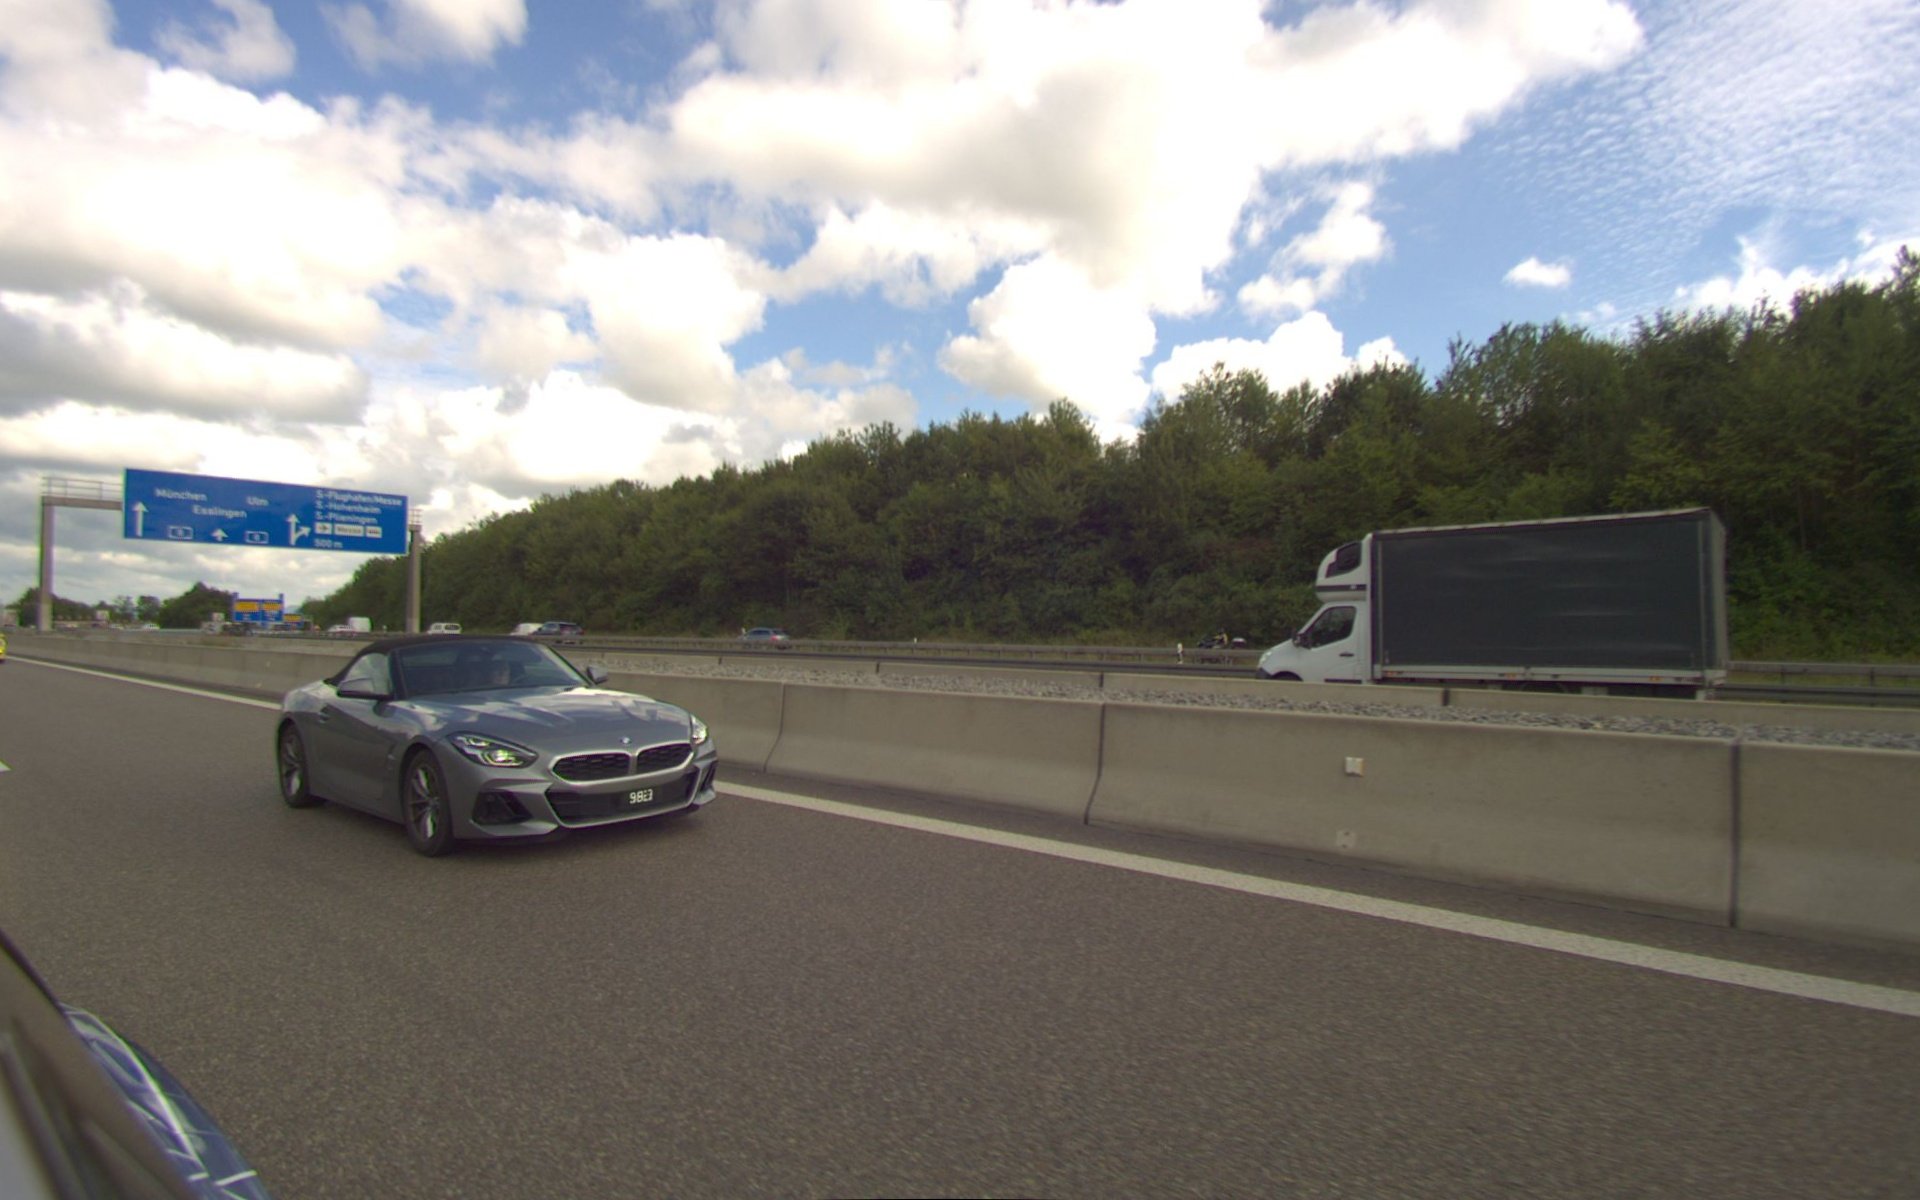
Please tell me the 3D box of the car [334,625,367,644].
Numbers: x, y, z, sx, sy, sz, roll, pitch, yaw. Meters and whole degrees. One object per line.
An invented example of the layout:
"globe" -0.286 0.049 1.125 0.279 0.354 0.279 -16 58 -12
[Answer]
"car" -76.973 4.318 127.804 5.684 2.333 1.972 -2 -3 43

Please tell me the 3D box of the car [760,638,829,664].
"car" -10.124 3.109 61.728 4.506 1.506 1.575 -2 -3 40

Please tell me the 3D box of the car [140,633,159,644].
"car" -120.977 5.737 151.045 4.368 1.529 1.658 -2 -3 43

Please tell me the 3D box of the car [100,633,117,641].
"car" -154.463 6.714 183.532 4.245 1.325 1.625 -2 -3 41

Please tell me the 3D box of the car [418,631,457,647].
"car" -52.214 3.883 101.147 4.943 1.646 1.717 -2 -3 40

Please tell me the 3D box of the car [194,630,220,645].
"car" -103.979 5.145 139.747 4.342 2.029 1.973 -1 -1 41

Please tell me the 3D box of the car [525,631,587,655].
"car" -27.222 2.880 68.092 4.766 1.605 1.972 -2 -3 42

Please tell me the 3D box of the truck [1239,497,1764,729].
"truck" 9.086 0.284 17.806 7.821 3.288 2.329 -1 -2 41

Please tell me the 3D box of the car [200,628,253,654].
"car" -52.430 2.937 72.309 5.499 1.799 1.815 -2 -3 41

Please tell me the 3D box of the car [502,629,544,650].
"car" -37.736 3.413 87.283 4.279 1.771 1.575 -2 -3 40

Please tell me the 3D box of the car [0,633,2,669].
"car" -34.215 1.777 34.512 4.245 1.325 1.788 -2 -4 41

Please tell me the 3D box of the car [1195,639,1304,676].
"car" 12.173 2.389 42.698 4.177 1.506 1.575 -2 -3 40

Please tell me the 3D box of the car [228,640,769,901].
"car" -3.730 0.987 7.658 4.939 1.312 1.854 -2 -2 41

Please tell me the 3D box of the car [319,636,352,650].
"car" -65.025 4.487 105.411 4.320 1.455 1.641 -2 -3 40

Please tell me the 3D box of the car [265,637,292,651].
"car" -81.451 5.248 120.917 3.997 1.660 1.641 -2 -3 40
